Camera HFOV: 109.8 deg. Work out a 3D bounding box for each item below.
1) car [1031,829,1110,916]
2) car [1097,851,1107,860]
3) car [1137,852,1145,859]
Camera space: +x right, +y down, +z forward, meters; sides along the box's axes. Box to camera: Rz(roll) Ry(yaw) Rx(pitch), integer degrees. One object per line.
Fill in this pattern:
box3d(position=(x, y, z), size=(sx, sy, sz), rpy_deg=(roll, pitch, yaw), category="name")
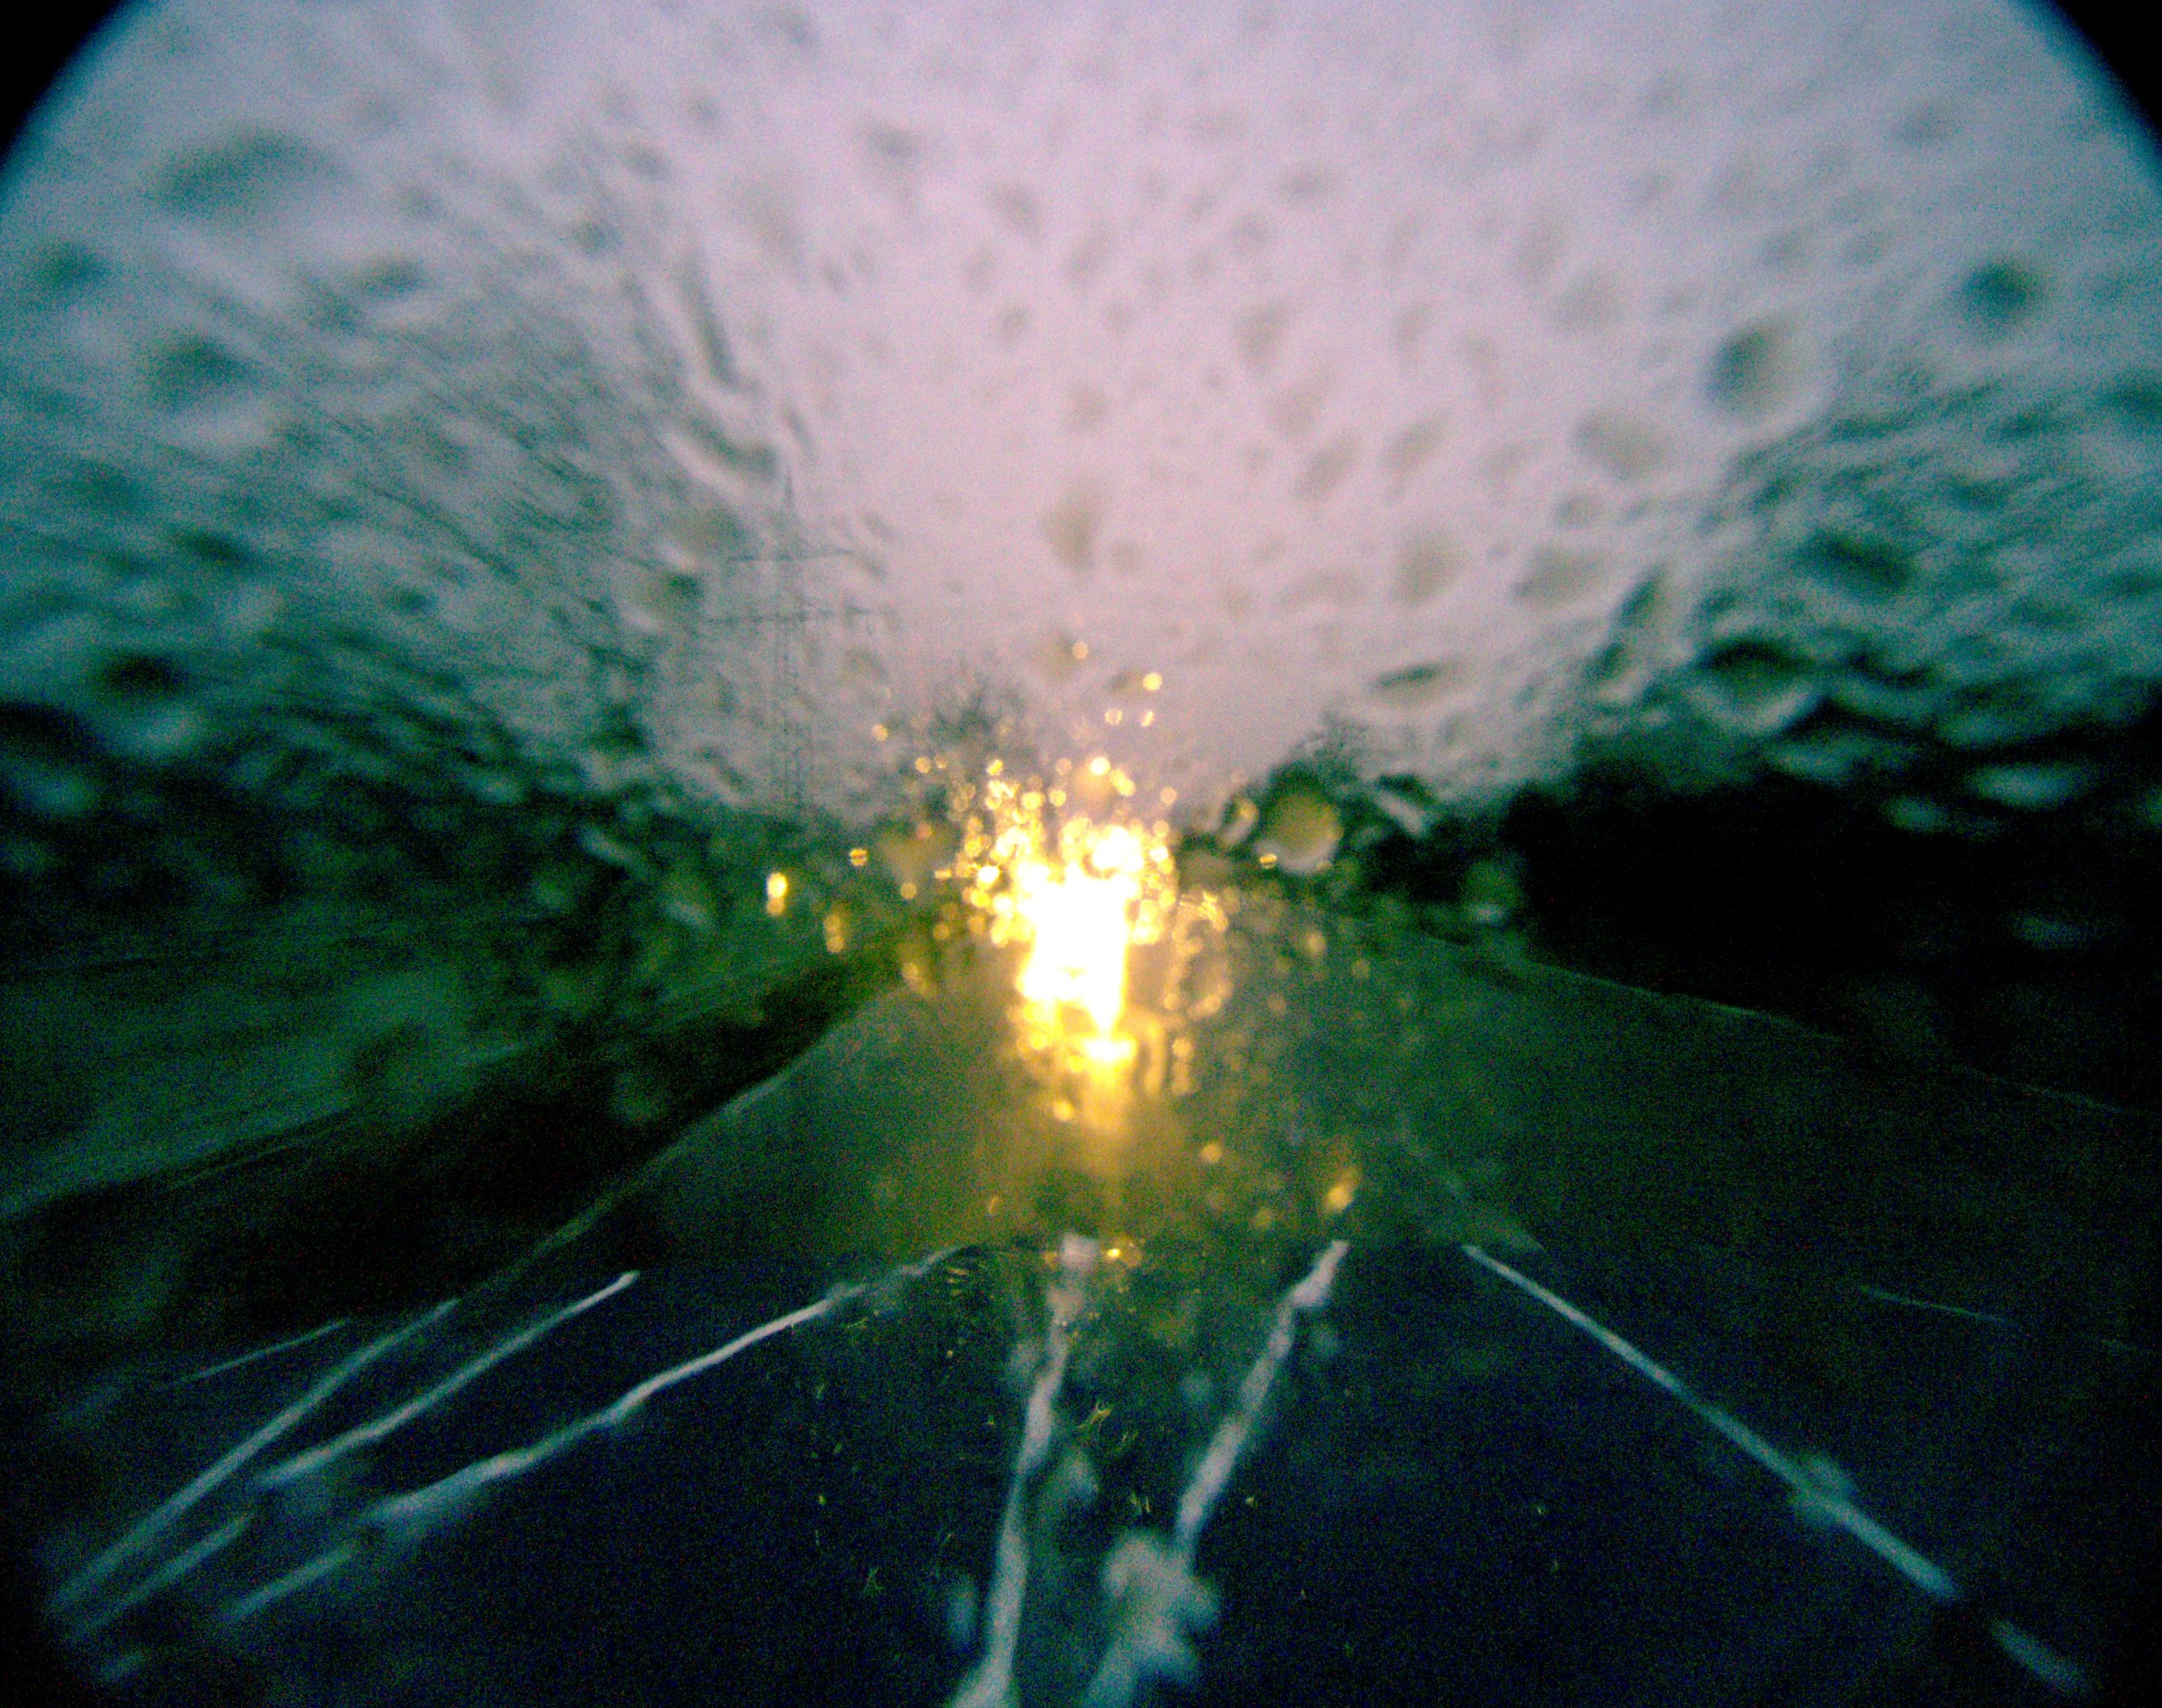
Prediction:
box3d(position=(-0.192, 0.453, 22.029), size=(1.953, 2.195, 4.534), rpy_deg=(-2, 1, 2), category="car")
box3d(position=(4.020, 0.300, 145.345), size=(1.912, 1.549, 3.928), rpy_deg=(-2, 1, 1), category="car")
box3d(position=(15.797, 0.401, 200.462), size=(1.912, 1.654, 3.928), rpy_deg=(-2, 1, 2), category="car")
